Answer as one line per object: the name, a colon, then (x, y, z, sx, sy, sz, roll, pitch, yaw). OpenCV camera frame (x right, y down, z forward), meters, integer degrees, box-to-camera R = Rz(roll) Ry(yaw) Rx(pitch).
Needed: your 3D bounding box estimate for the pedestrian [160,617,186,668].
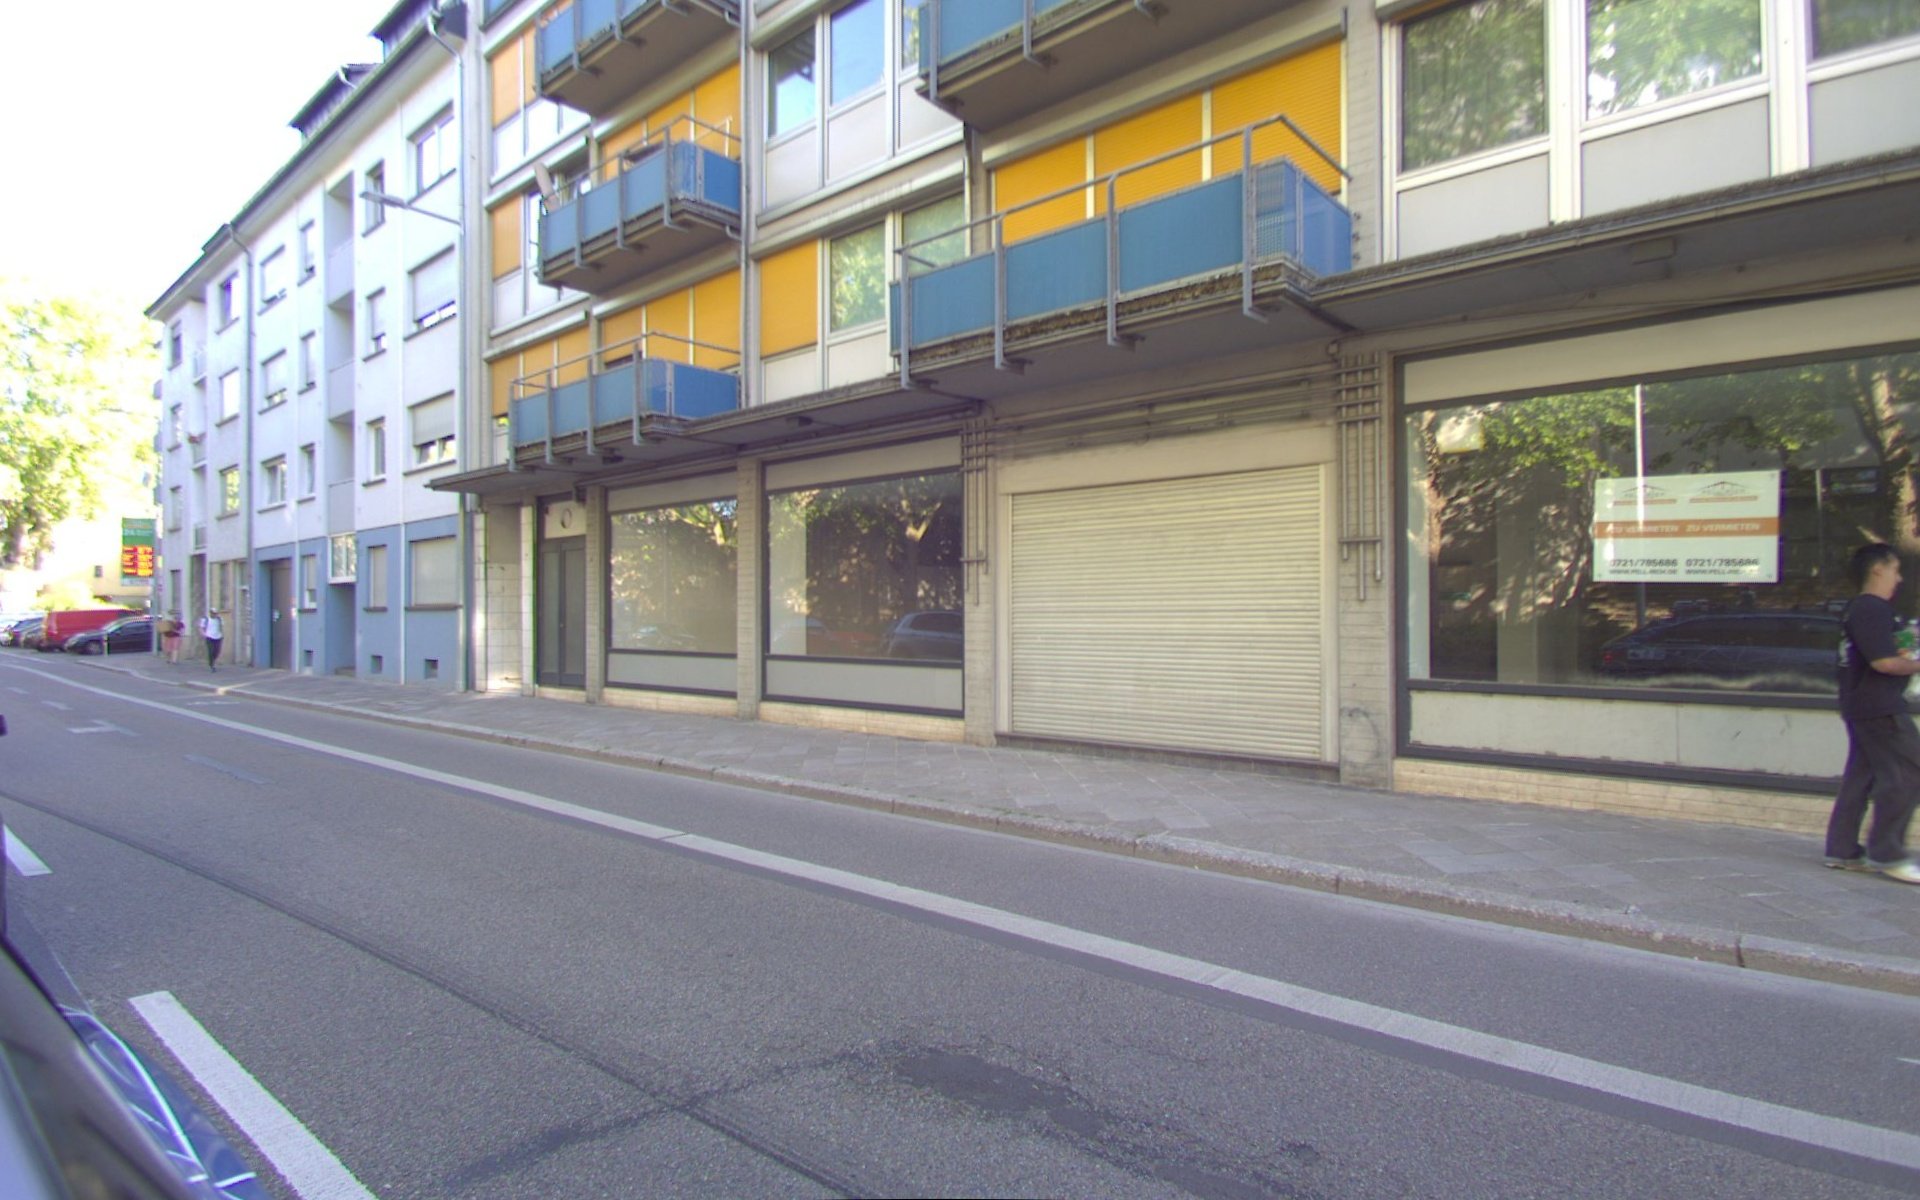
pedestrian: (-24.378, 1.316, 31.350, 0.343, 1.529, 0.562, -2, 0, 41)

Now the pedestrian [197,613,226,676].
pedestrian: (-21.004, 1.246, 28.400, 0.343, 1.739, 0.562, -2, 0, 41)

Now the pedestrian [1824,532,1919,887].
pedestrian: (4.965, 0.539, 5.248, 0.524, 1.754, 0.626, -1, -1, 22)

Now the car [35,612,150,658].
car: (-40.567, 1.587, 47.379, 1.635, 1.937, 3.878, -1, 0, 41)

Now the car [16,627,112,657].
car: (-43.022, 2.005, 48.626, 1.294, 1.258, 3.283, -1, 0, 41)

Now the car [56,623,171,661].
car: (-36.655, 1.774, 43.872, 1.635, 1.422, 3.623, -1, 0, 41)
